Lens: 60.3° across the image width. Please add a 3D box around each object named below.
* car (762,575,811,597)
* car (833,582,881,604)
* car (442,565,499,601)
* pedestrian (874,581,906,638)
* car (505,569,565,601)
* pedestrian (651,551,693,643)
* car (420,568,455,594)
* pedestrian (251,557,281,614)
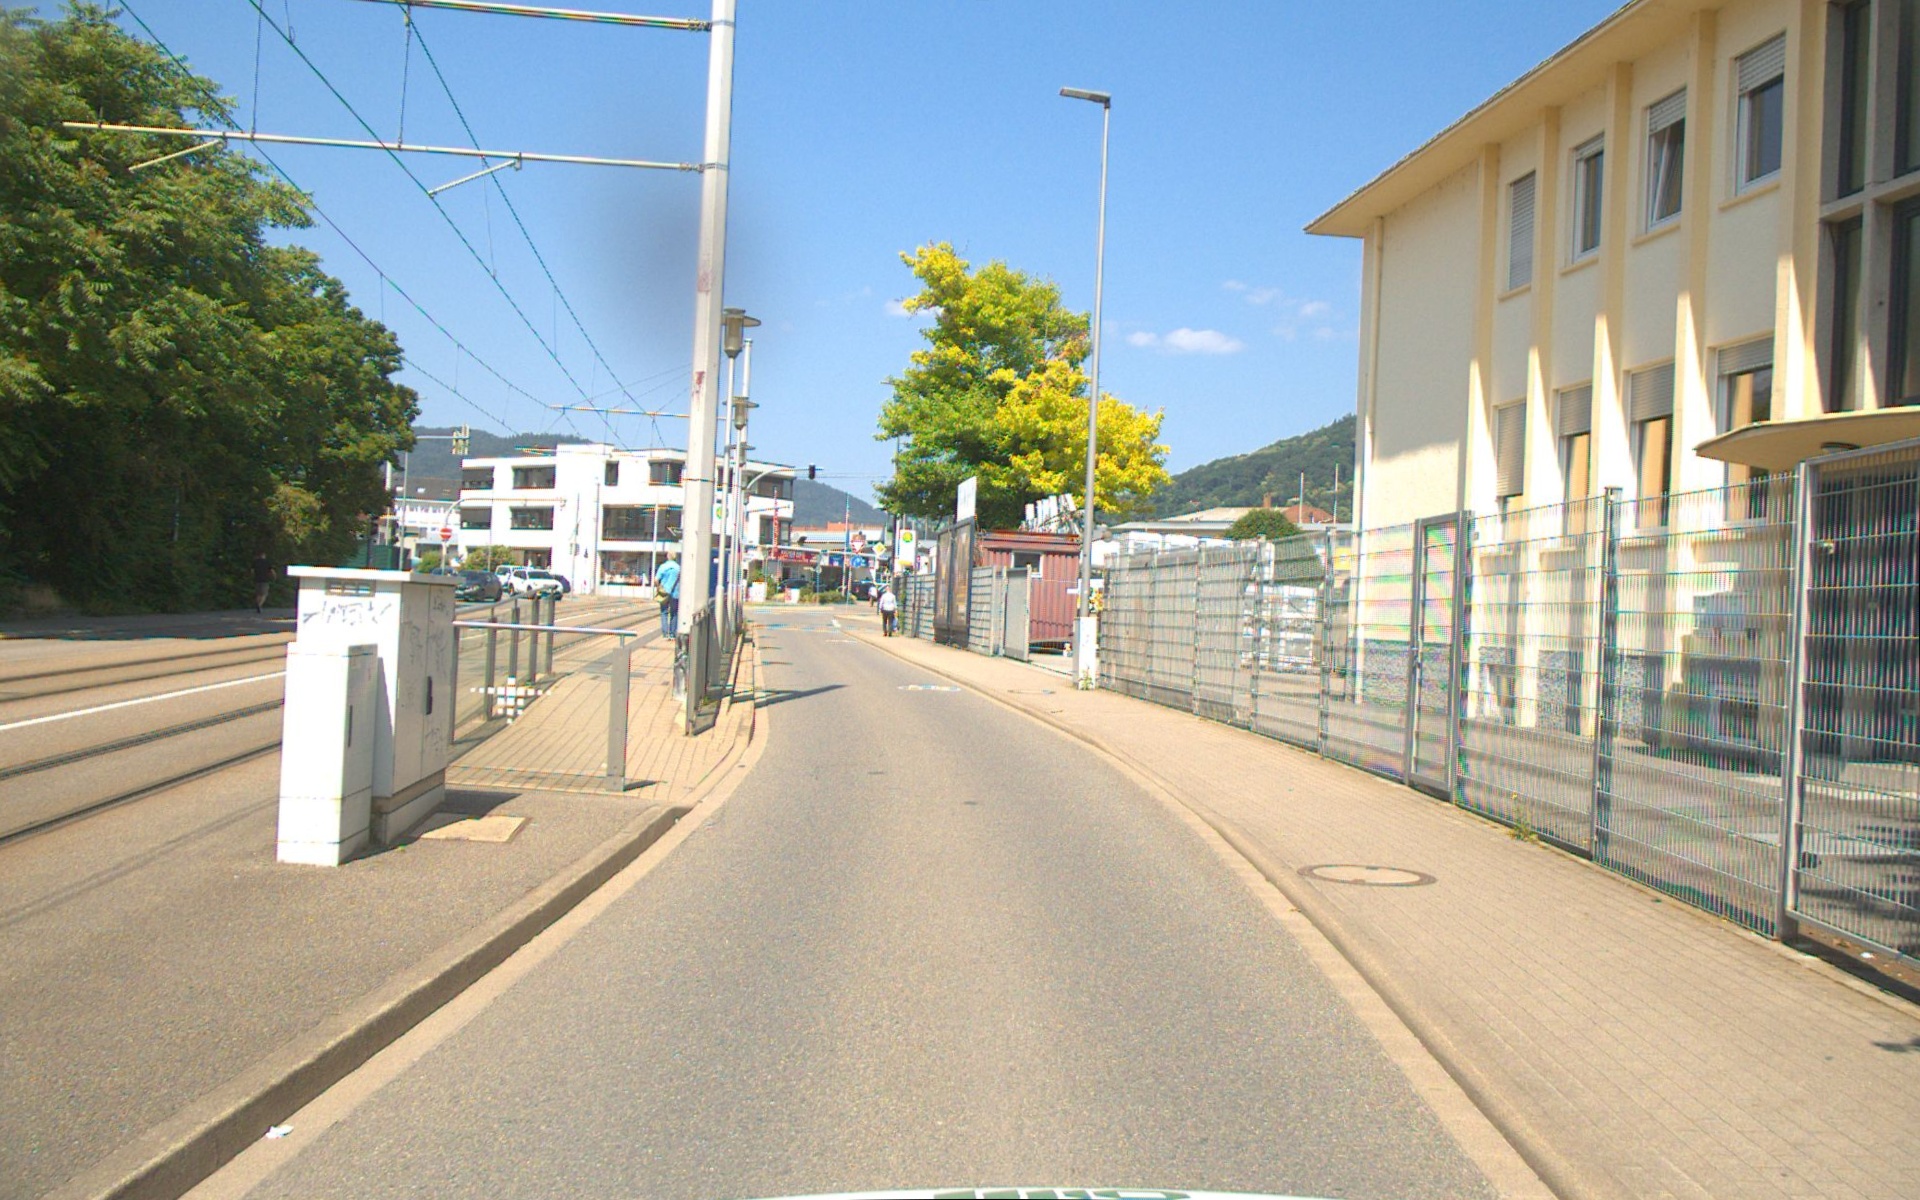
[{"bbox_3d":[-14.503,-1.161,138.433,1.703,1.691,3.979,2,0,39],"label":"car"},{"bbox_3d":[-8.532,-0.588,137.103,1.829,1.691,3.982,2,0,38],"label":"car"},{"bbox_3d":[-22.943,-0.781,77.680,1.751,1.579,3.996,2,0,-5],"label":"car"},{"bbox_3d":[-2.366,0.306,55.636,0.922,1.818,0.952,3,1,-8],"label":"pedestrian"},{"bbox_3d":[-23.599,-0.824,91.753,1.745,1.676,3.707,1,0,-40],"label":"car"},{"bbox_3d":[-5.723,-0.063,32.891,0.729,1.771,0.726,2,0,-8],"label":"pedestrian"},{"bbox_3d":[-32.187,-1.175,101.824,1.731,1.515,3.737,2,0,-22],"label":"car"},{"bbox_3d":[-19.388,-0.417,46.194,0.573,1.564,0.656,2,0,-8],"label":"pedestrian"}]
